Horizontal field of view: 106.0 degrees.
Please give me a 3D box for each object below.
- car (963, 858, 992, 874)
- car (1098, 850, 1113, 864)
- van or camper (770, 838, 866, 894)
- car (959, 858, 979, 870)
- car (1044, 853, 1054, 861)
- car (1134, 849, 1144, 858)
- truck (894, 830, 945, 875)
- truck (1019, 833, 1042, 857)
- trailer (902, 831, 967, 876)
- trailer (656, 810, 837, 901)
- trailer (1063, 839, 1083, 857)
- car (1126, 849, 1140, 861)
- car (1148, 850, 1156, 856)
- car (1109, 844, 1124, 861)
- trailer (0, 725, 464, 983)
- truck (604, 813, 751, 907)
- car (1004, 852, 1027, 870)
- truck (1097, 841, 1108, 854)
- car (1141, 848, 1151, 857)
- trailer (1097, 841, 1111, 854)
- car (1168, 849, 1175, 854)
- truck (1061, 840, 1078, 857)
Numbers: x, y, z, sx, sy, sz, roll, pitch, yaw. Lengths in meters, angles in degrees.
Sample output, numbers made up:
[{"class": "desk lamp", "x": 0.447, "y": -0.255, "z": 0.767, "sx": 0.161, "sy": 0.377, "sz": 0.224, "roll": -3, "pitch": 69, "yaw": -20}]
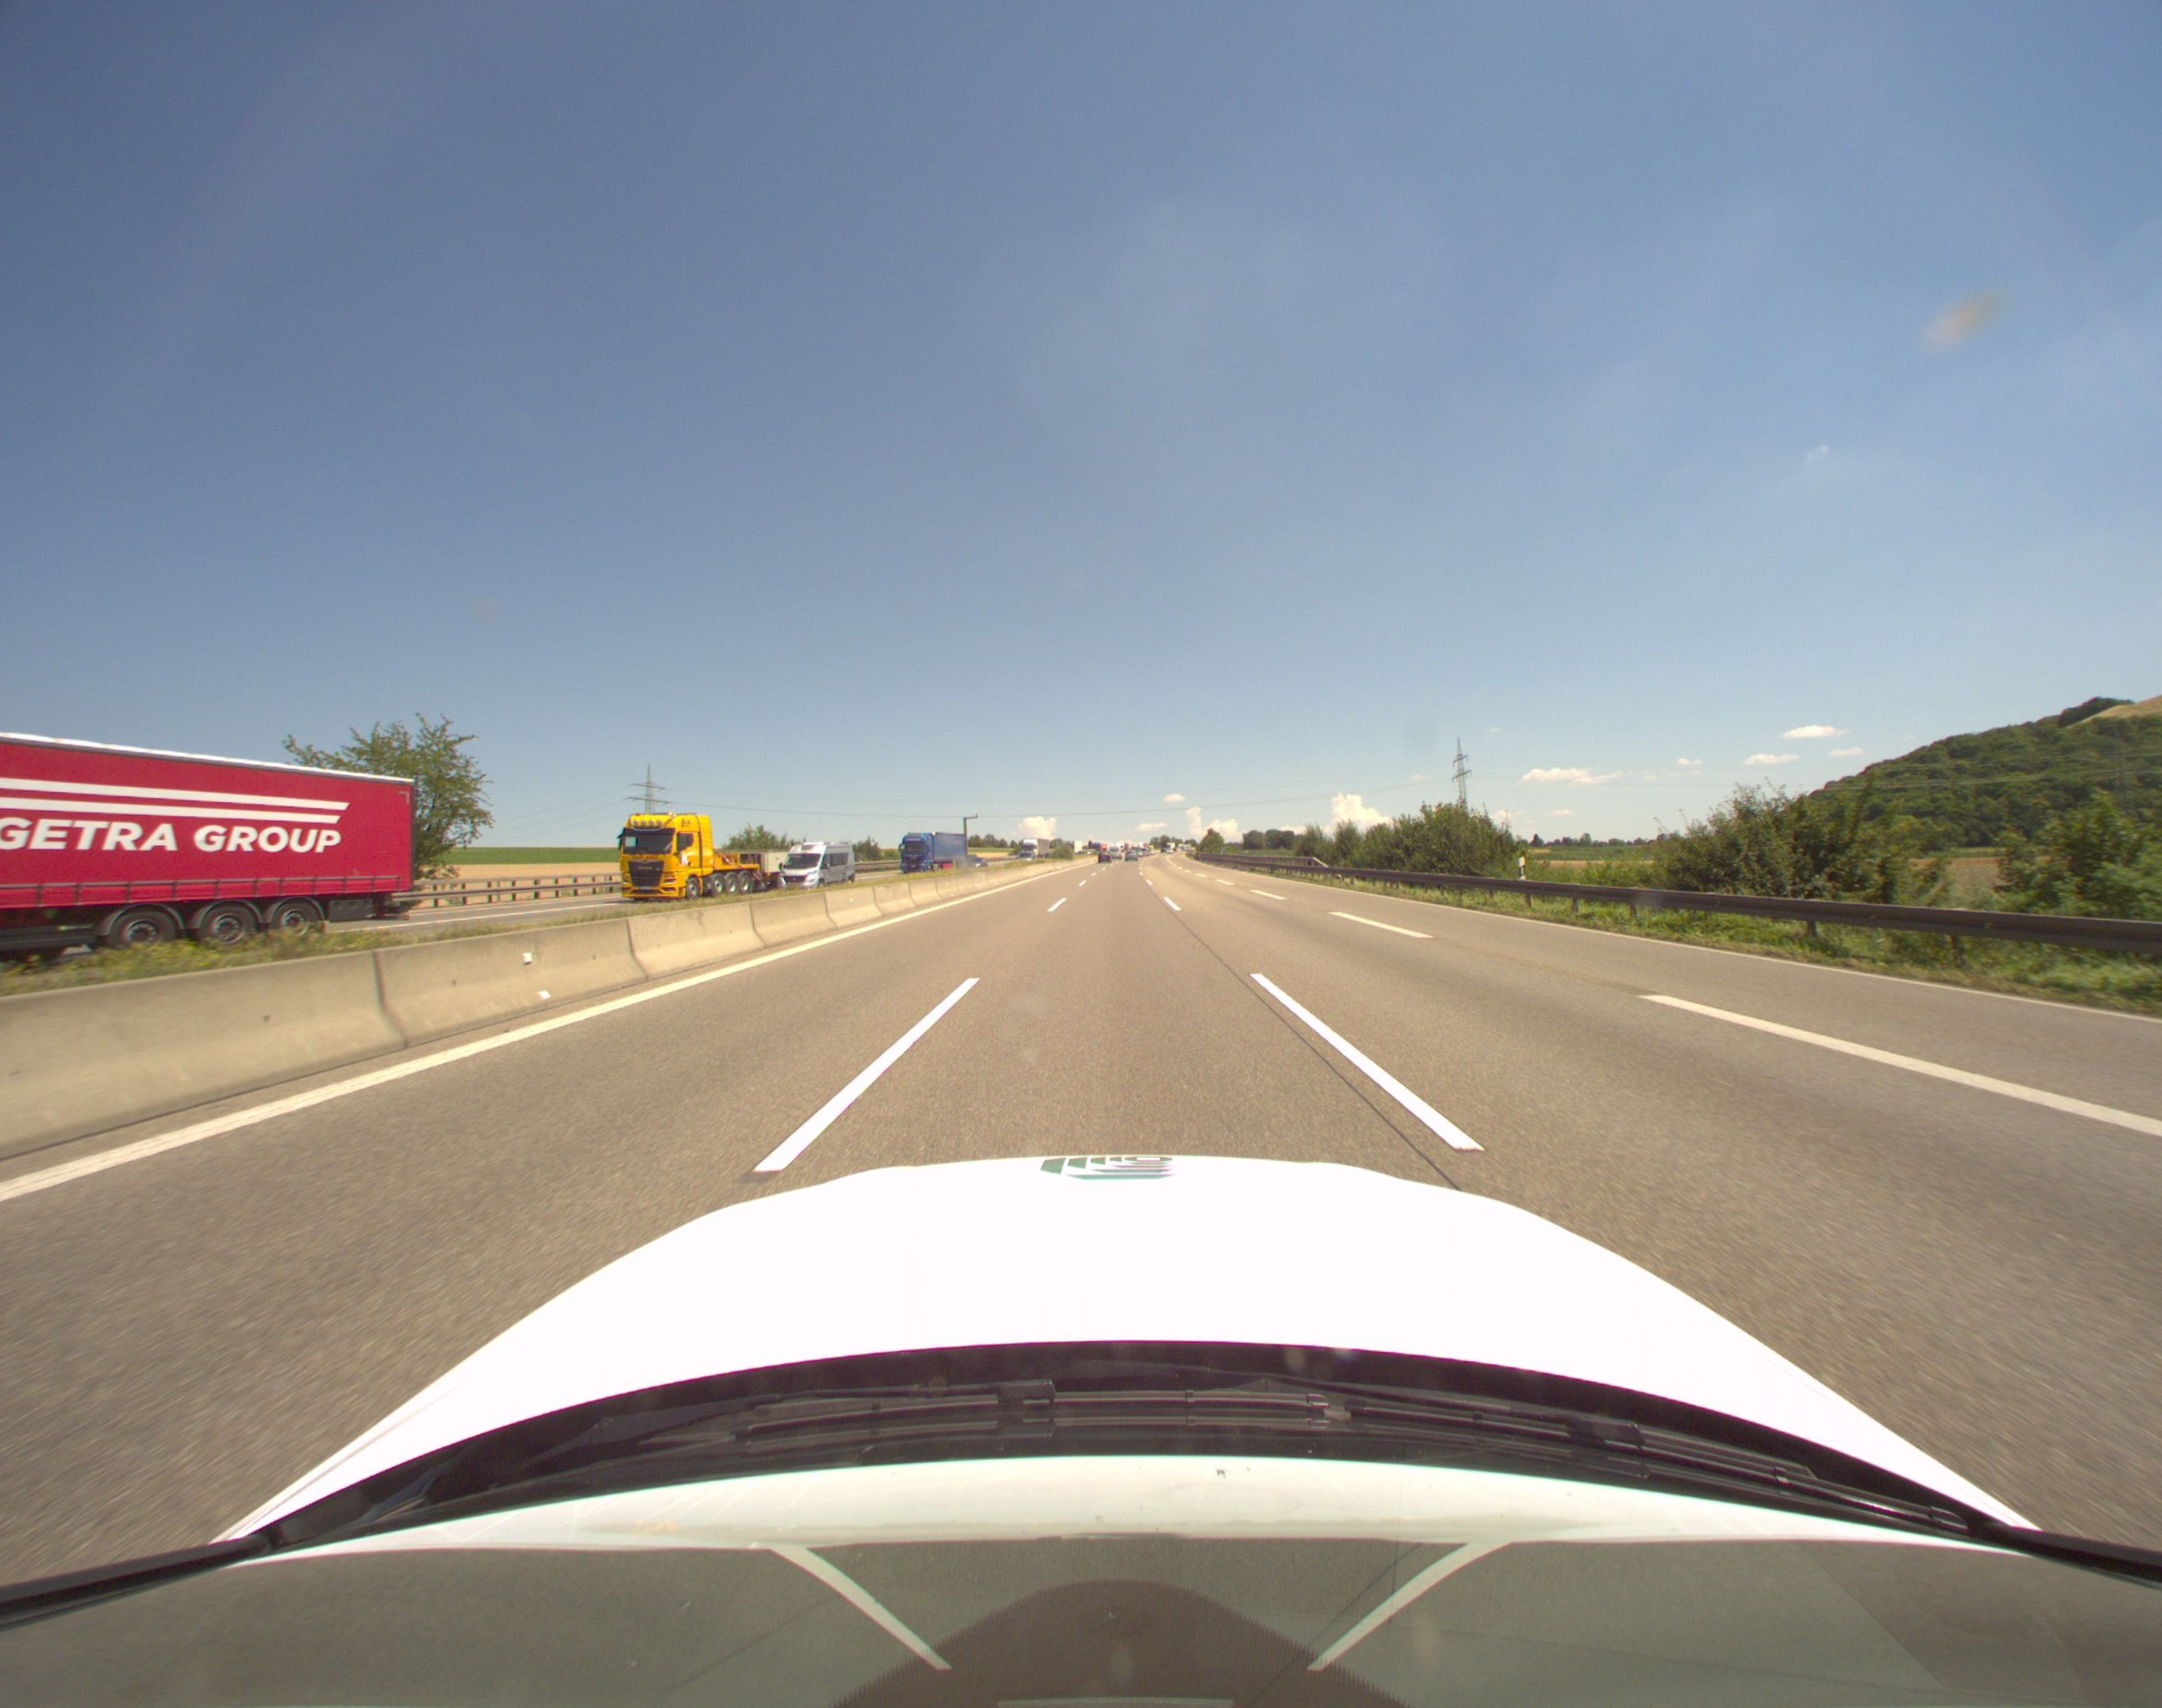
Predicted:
[{"class": "car", "x": -10.547, "y": 1.204, "z": 83.426, "sx": 1.906, "sy": 1.541, "sz": 5.746, "roll": -1, "pitch": 0, "yaw": 3}, {"class": "car", "x": 3.417, "y": 0.398, "z": 112.259, "sx": 1.838, "sy": 1.861, "sz": 4.212, "roll": -1, "pitch": 1, "yaw": 5}, {"class": "van or camper", "x": -13.266, "y": 0.562, "z": 41.690, "sx": 2.302, "sy": 2.586, "sz": 7.146, "roll": -1, "pitch": 0, "yaw": 2}, {"class": "car", "x": -14.062, "y": 1.228, "z": 102.625, "sx": 1.650, "sy": 1.385, "sz": 4.355, "roll": -1, "pitch": 0, "yaw": 4}, {"class": "car", "x": -5.678, "y": 0.532, "z": 144.329, "sx": 1.618, "sy": 1.404, "sz": 3.731, "roll": -1, "pitch": 0, "yaw": 1}, {"class": "car", "x": 11.936, "y": -0.114, "z": 167.568, "sx": 1.985, "sy": 1.585, "sz": 4.002, "roll": -2, "pitch": -1, "yaw": 3}, {"class": "truck", "x": -15.449, "y": -0.114, "z": 78.545, "sx": 3.062, "sy": 4.090, "sz": 6.942, "roll": -1, "pitch": 0, "yaw": 4}, {"class": "truck", "x": -9.329, "y": -1.627, "z": 150.865, "sx": 3.116, "sy": 4.328, "sz": 6.158, "roll": -1, "pitch": 0, "yaw": 6}, {"class": "trailer", "x": -14.961, "y": -0.036, "z": 84.945, "sx": 3.147, "sy": 4.194, "sz": 14.397, "roll": 0, "pitch": 0, "yaw": 4}, {"class": "trailer", "x": -17.372, "y": 0.035, "z": 44.208, "sx": 2.939, "sy": 4.100, "sz": 14.397, "roll": -1, "pitch": 0, "yaw": 4}, {"class": "trailer", "x": -2.035, "y": -1.588, "z": 210.631, "sx": 3.225, "sy": 4.387, "sz": 14.055, "roll": -1, "pitch": 0, "yaw": 7}, {"class": "car", "x": 7.879, "y": 0.169, "z": 123.384, "sx": 1.985, "sy": 1.750, "sz": 4.004, "roll": -1, "pitch": -2, "yaw": 4}, {"class": "car", "x": 18.934, "y": -0.398, "z": 216.851, "sx": 1.983, "sy": 1.552, "sz": 4.008, "roll": 0, "pitch": 1, "yaw": 7}, {"class": "car", "x": 6.135, "y": -0.237, "z": 140.653, "sx": 2.169, "sy": 2.625, "sz": 4.679, "roll": -1, "pitch": -2, "yaw": 6}, {"class": "trailer", "x": -18.605, "y": 0.026, "z": 14.878, "sx": 3.073, "sy": 4.100, "sz": 14.391, "roll": -1, "pitch": 0, "yaw": 3}, {"class": "truck", "x": -18.009, "y": 0.232, "z": 36.979, "sx": 2.738, "sy": 3.837, "sz": 7.106, "roll": -1, "pitch": 0, "yaw": 4}, {"class": "car", "x": -7.632, "y": 0.773, "z": 95.182, "sx": 1.906, "sy": 1.970, "sz": 5.450, "roll": -1, "pitch": 0, "yaw": 3}, {"class": "truck", "x": 6.729, "y": -2.019, "z": 256.483, "sx": 2.761, "sy": 3.937, "sz": 6.150, "roll": -1, "pitch": 0, "yaw": 7}, {"class": "car", "x": 14.779, "y": -0.365, "z": 185.488, "sx": 1.986, "sy": 1.904, "sz": 4.001, "roll": -1, "pitch": -2, "yaw": 2}, {"class": "trailer", "x": 7.569, "y": -2.057, "z": 262.768, "sx": 2.823, "sy": 3.958, "sz": 13.758, "roll": -1, "pitch": 0, "yaw": 8}, {"class": "car", "x": 27.607, "y": -0.871, "z": 249.416, "sx": 1.891, "sy": 1.442, "sz": 4.010, "roll": -1, "pitch": 0, "yaw": 9}, {"class": "truck", "x": -2.766, "y": -1.405, "z": 203.841, "sx": 3.209, "sy": 4.206, "sz": 7.140, "roll": -1, "pitch": 0, "yaw": 7}]
